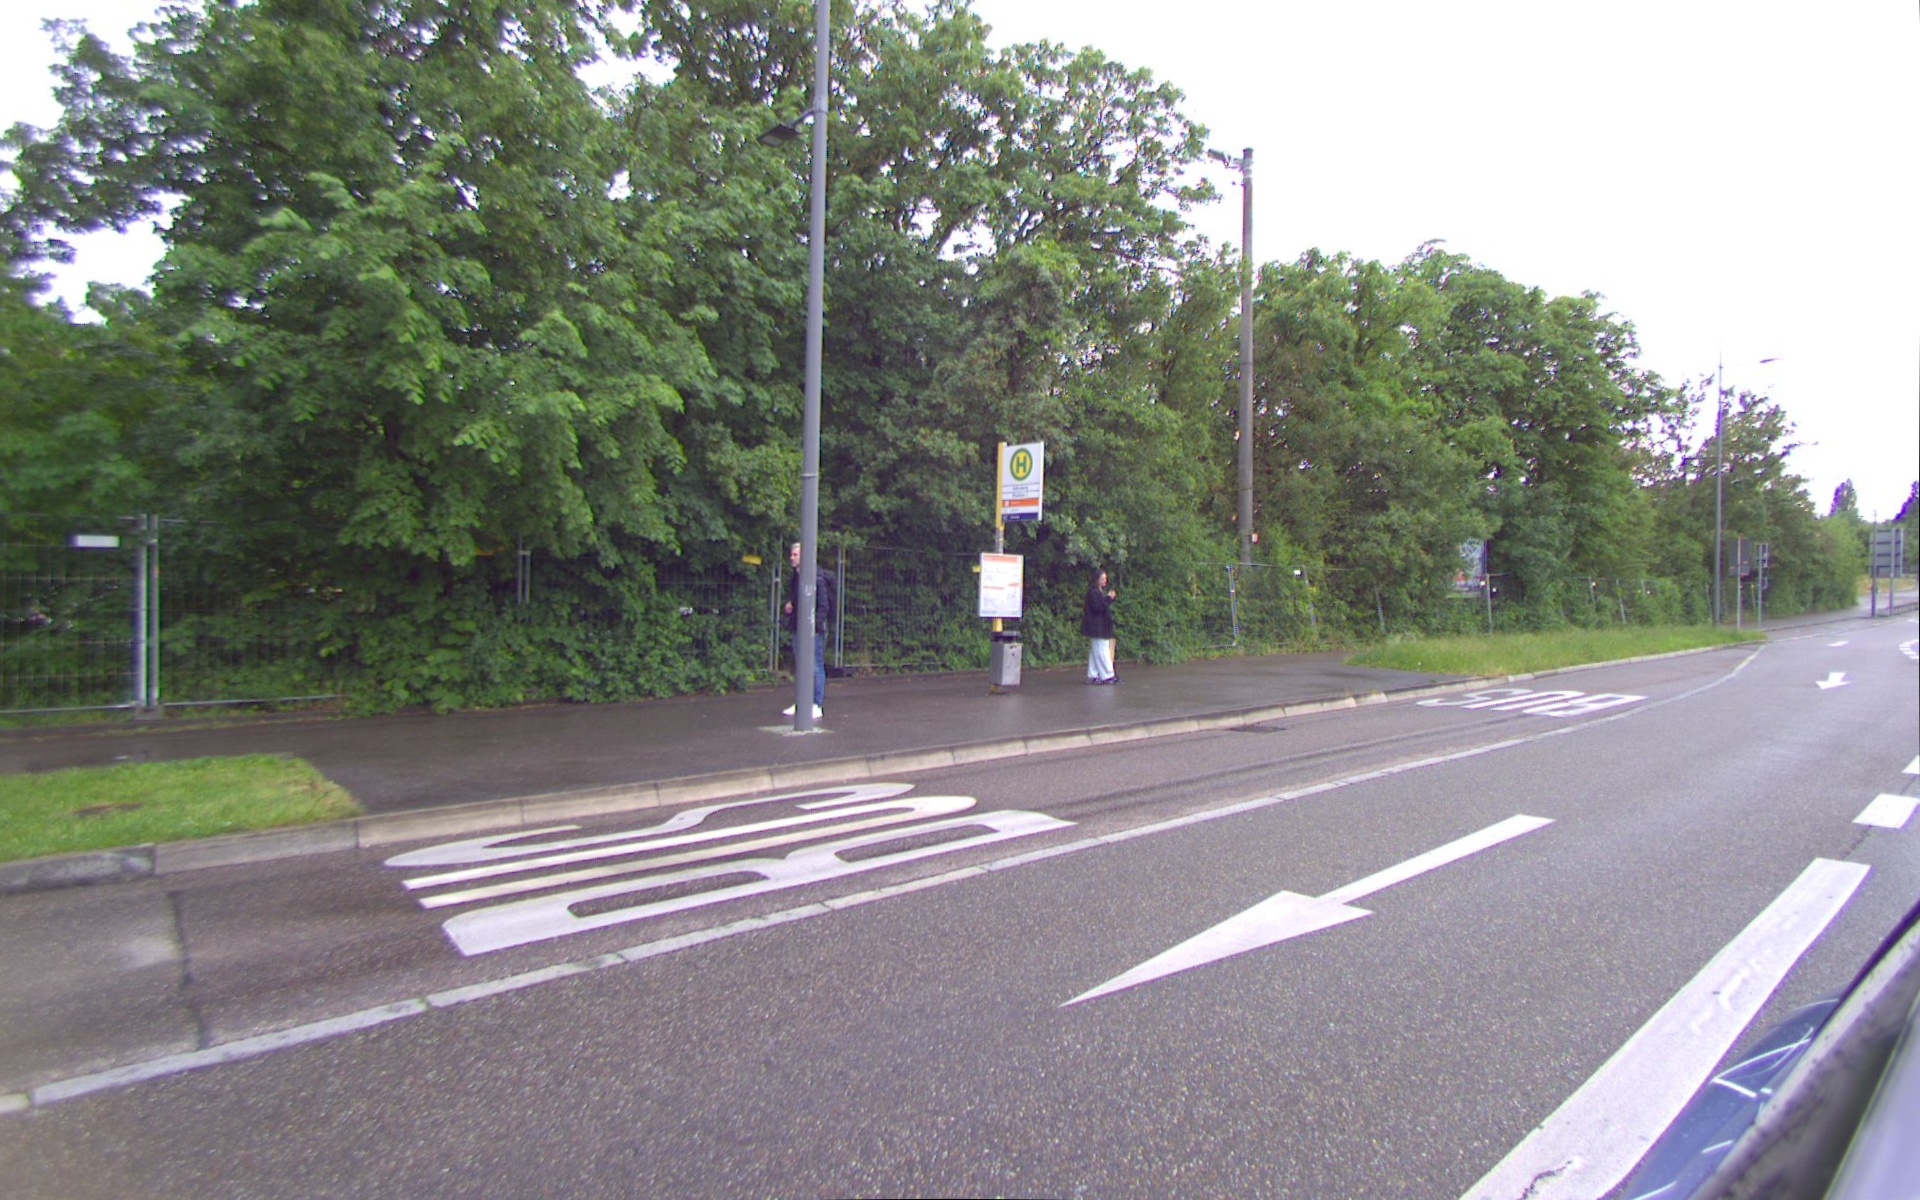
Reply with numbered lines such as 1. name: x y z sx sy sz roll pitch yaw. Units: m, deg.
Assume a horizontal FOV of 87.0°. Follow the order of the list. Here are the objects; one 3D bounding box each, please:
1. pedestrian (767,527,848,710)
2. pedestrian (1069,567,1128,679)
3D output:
1. pedestrian: -1.719 0.193 11.374 0.587 1.973 0.742 0 1 -40
2. pedestrian: 2.081 0.328 15.219 0.650 1.648 0.588 0 1 -40
